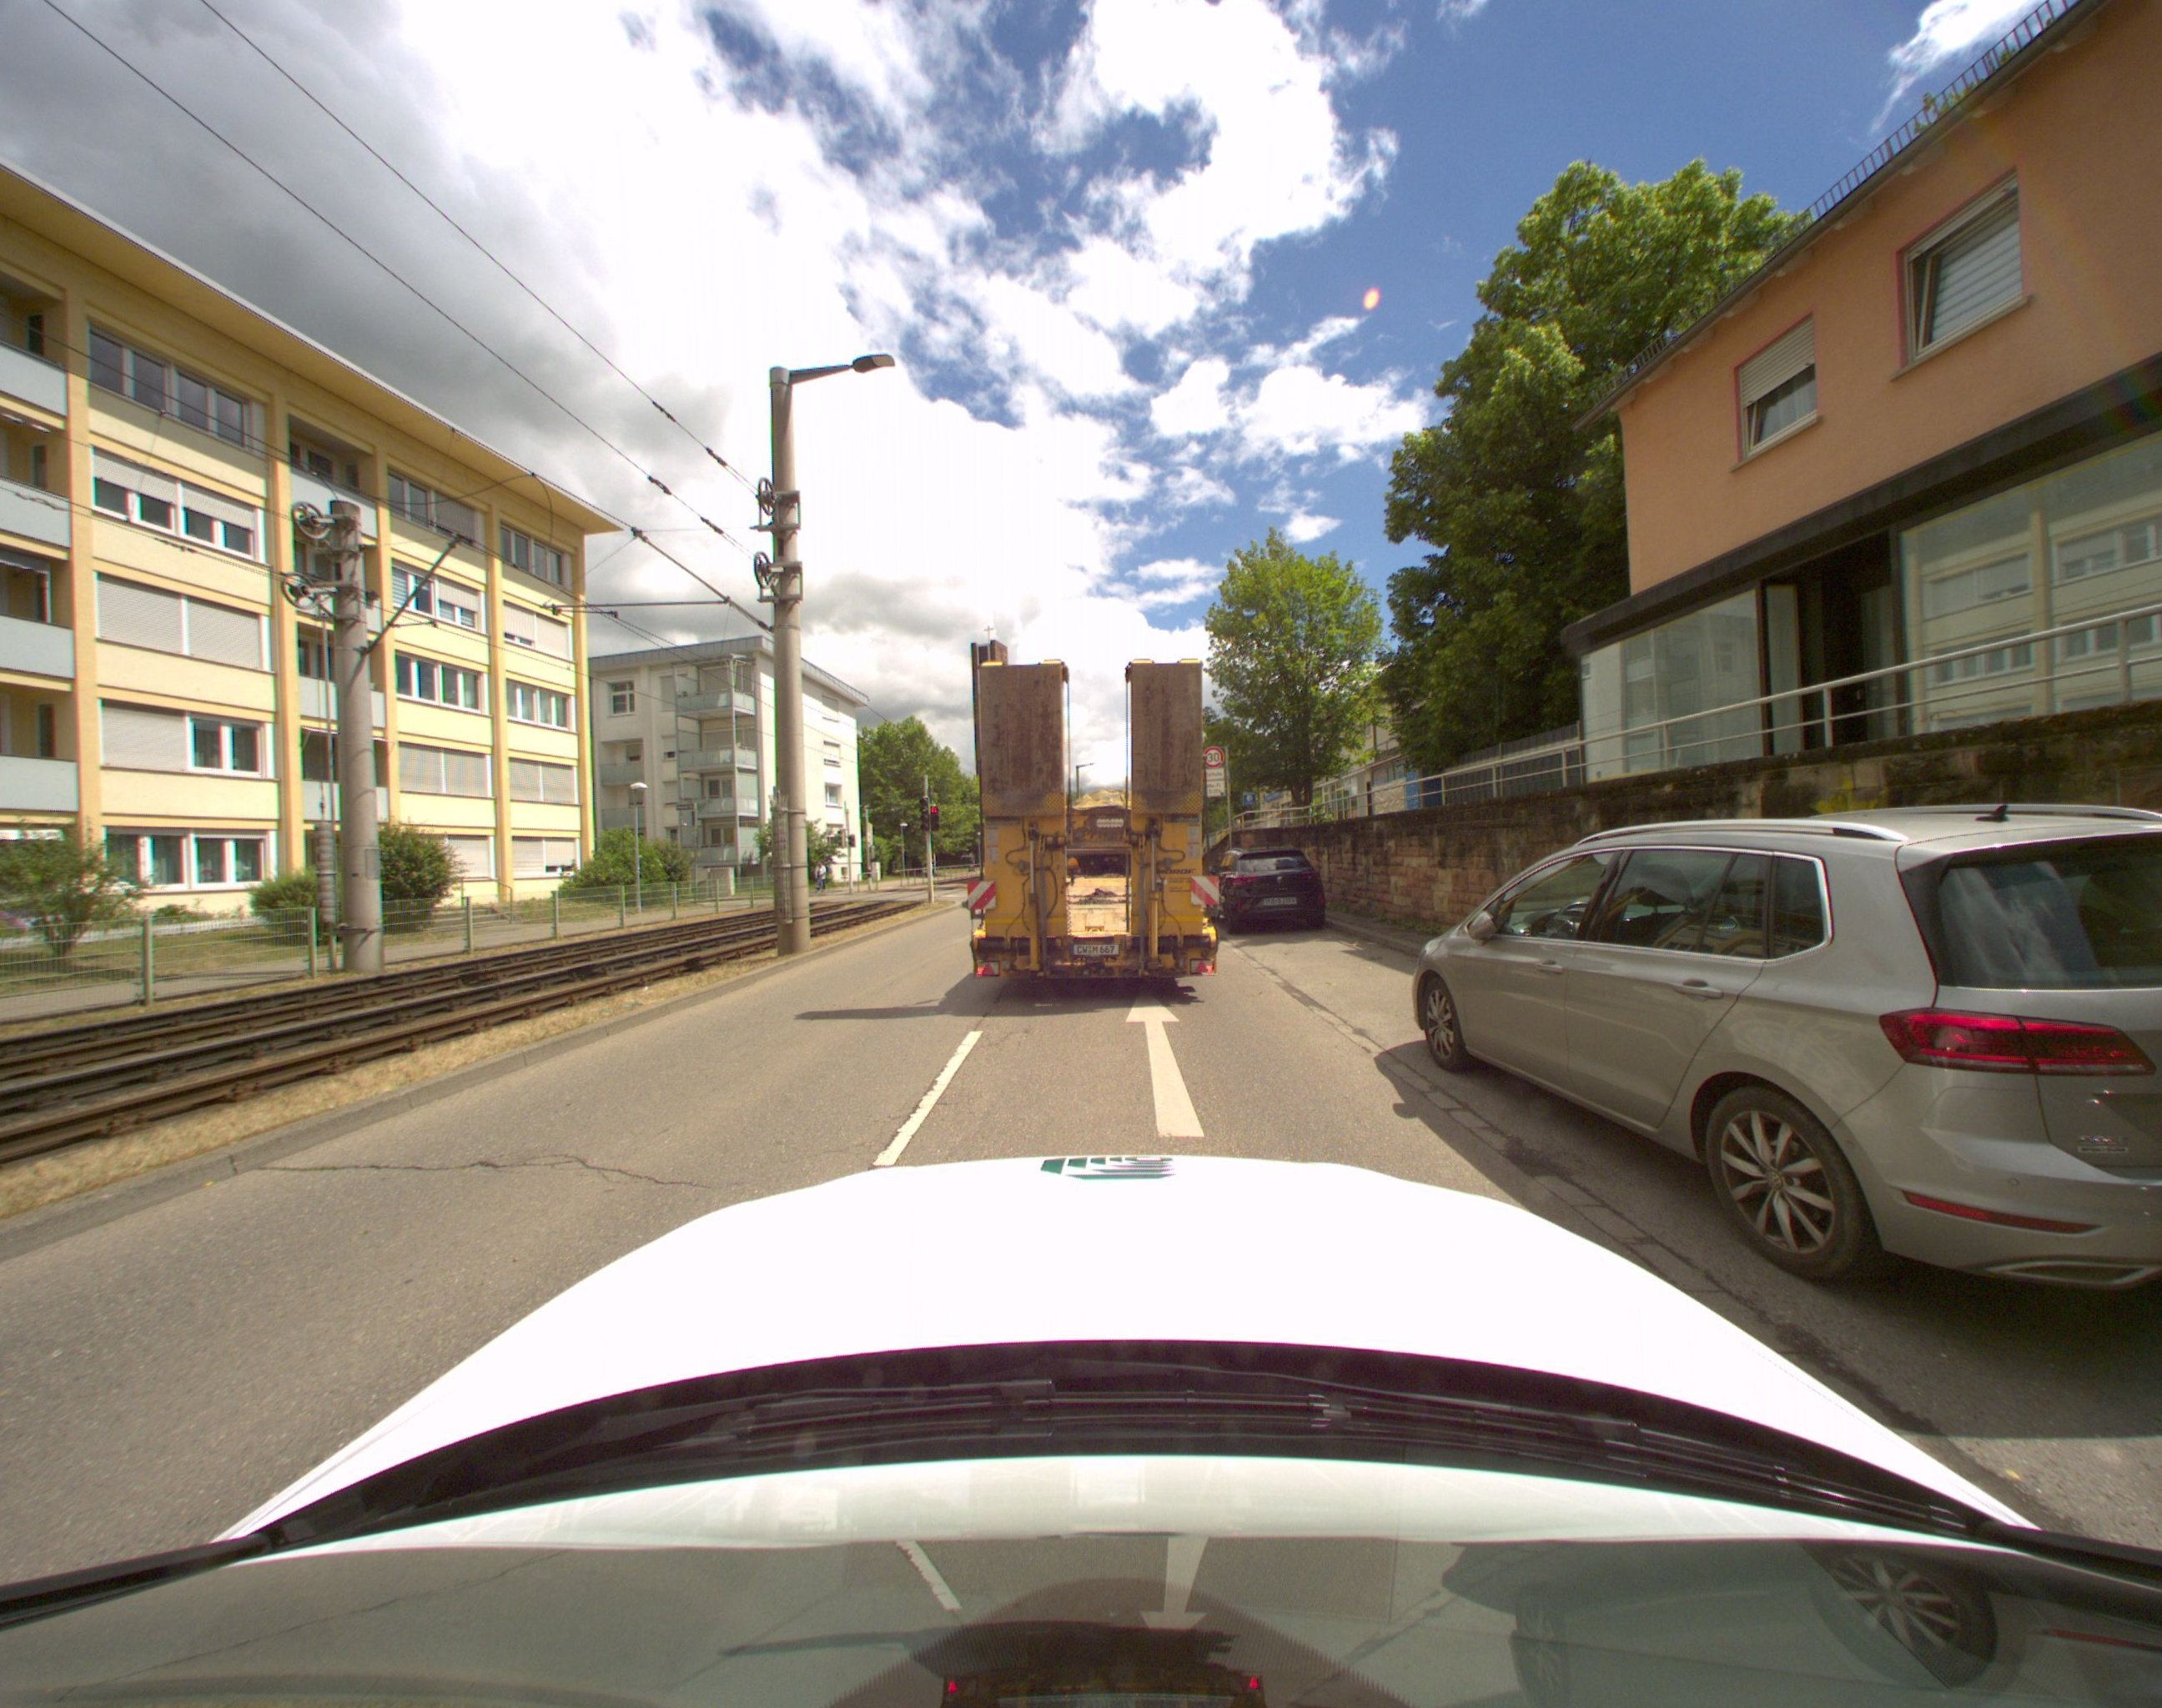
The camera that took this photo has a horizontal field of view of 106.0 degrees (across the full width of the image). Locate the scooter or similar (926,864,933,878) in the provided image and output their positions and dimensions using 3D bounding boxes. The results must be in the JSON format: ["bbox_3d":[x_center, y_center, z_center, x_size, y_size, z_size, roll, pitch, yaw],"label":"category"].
[{"bbox_3d":[-11.931,1.311,64.274,0.336,1.057,0.689,-2,0,6],"label":"scooter or similar"}]

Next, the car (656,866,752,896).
[{"bbox_3d":[-19.201,1.374,41.547,3.963,1.345,1.906,-2,0,9],"label":"car"}]

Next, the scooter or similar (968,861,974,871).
[{"bbox_3d":[-10.905,1.163,80.743,0.504,0.971,0.646,0,0,1],"label":"scooter or similar"}]

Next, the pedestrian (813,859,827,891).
[{"bbox_3d":[-13.158,1.071,41.066,0.435,1.580,0.475,-3,1,7],"label":"pedestrian"}]

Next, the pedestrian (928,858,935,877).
[{"bbox_3d":[-11.919,1.087,64.922,0.346,1.537,0.558,-2,0,5],"label":"pedestrian"}]

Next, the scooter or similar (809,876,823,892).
[{"bbox_3d":[-13.196,1.497,40.569,0.435,0.747,0.475,-2,0,7],"label":"scooter or similar"}]

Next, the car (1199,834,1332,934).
[{"bbox_3d":[3.519,0.527,16.266,1.843,1.639,4.003,-3,0,3],"label":"car"}]

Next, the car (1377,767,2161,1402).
[{"bbox_3d":[3.211,0.562,4.240,1.783,1.617,4.249,-3,0,1],"label":"car"}]

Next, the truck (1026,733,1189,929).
[{"bbox_3d":[0.605,-0.437,17.799,2.931,3.572,4.880,-2,0,2],"label":"truck"}]

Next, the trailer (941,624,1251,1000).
[{"bbox_3d":[0.353,-0.418,12.400,2.933,3.601,8.690,-2,0,3],"label":"trailer"}]

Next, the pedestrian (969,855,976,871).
[{"bbox_3d":[-10.869,0.898,81.395,0.562,1.513,0.646,0,0,1],"label":"pedestrian"}]
